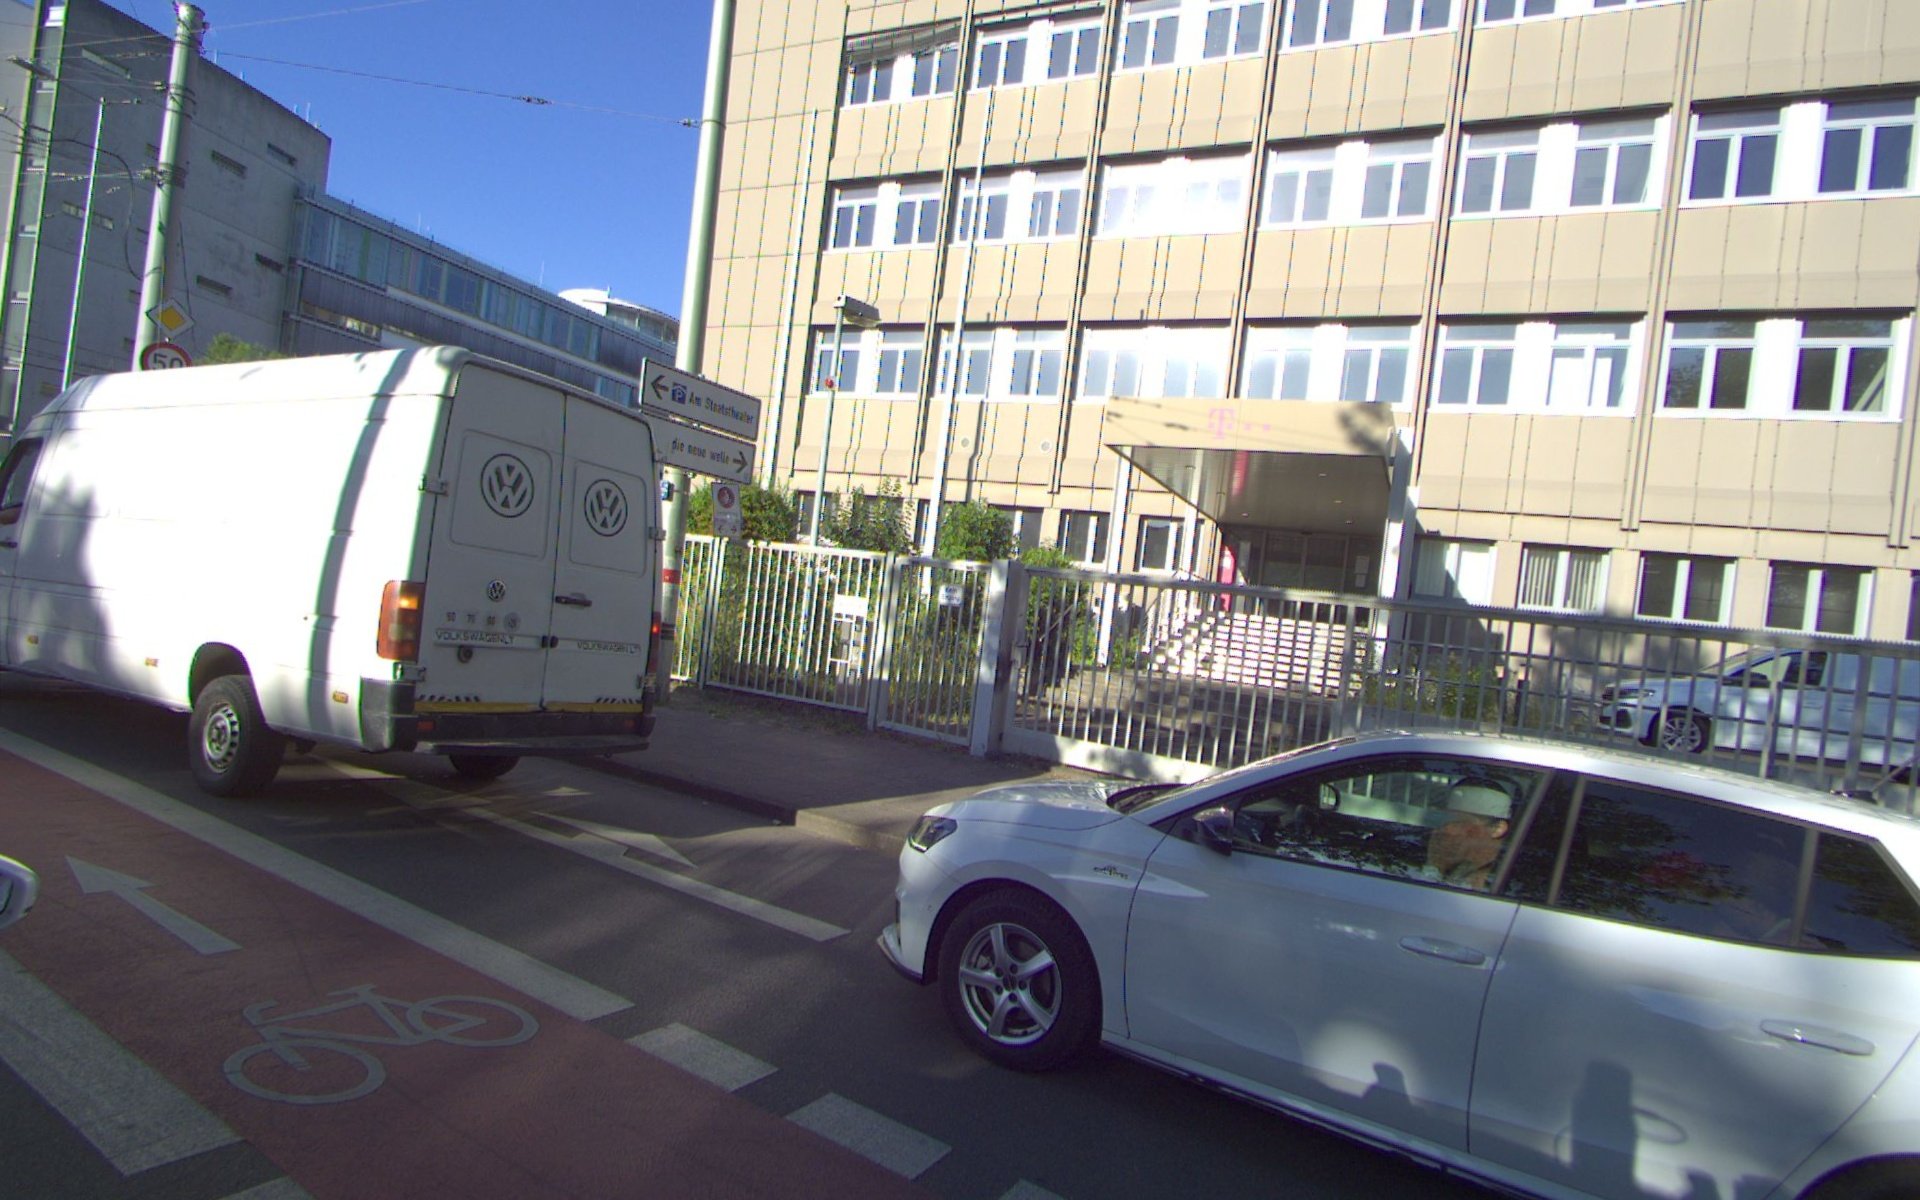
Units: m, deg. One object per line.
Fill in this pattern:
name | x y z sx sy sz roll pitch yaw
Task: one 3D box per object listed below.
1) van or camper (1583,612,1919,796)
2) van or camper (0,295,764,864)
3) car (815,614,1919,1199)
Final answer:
van or camper | 11.727 1.451 13.914 4.911 1.932 1.985 7 0 26
van or camper | -4.779 -0.313 7.301 6.236 2.764 2.276 7 -2 28
car | 1.649 1.088 3.719 3.914 1.518 1.806 7 -1 30
